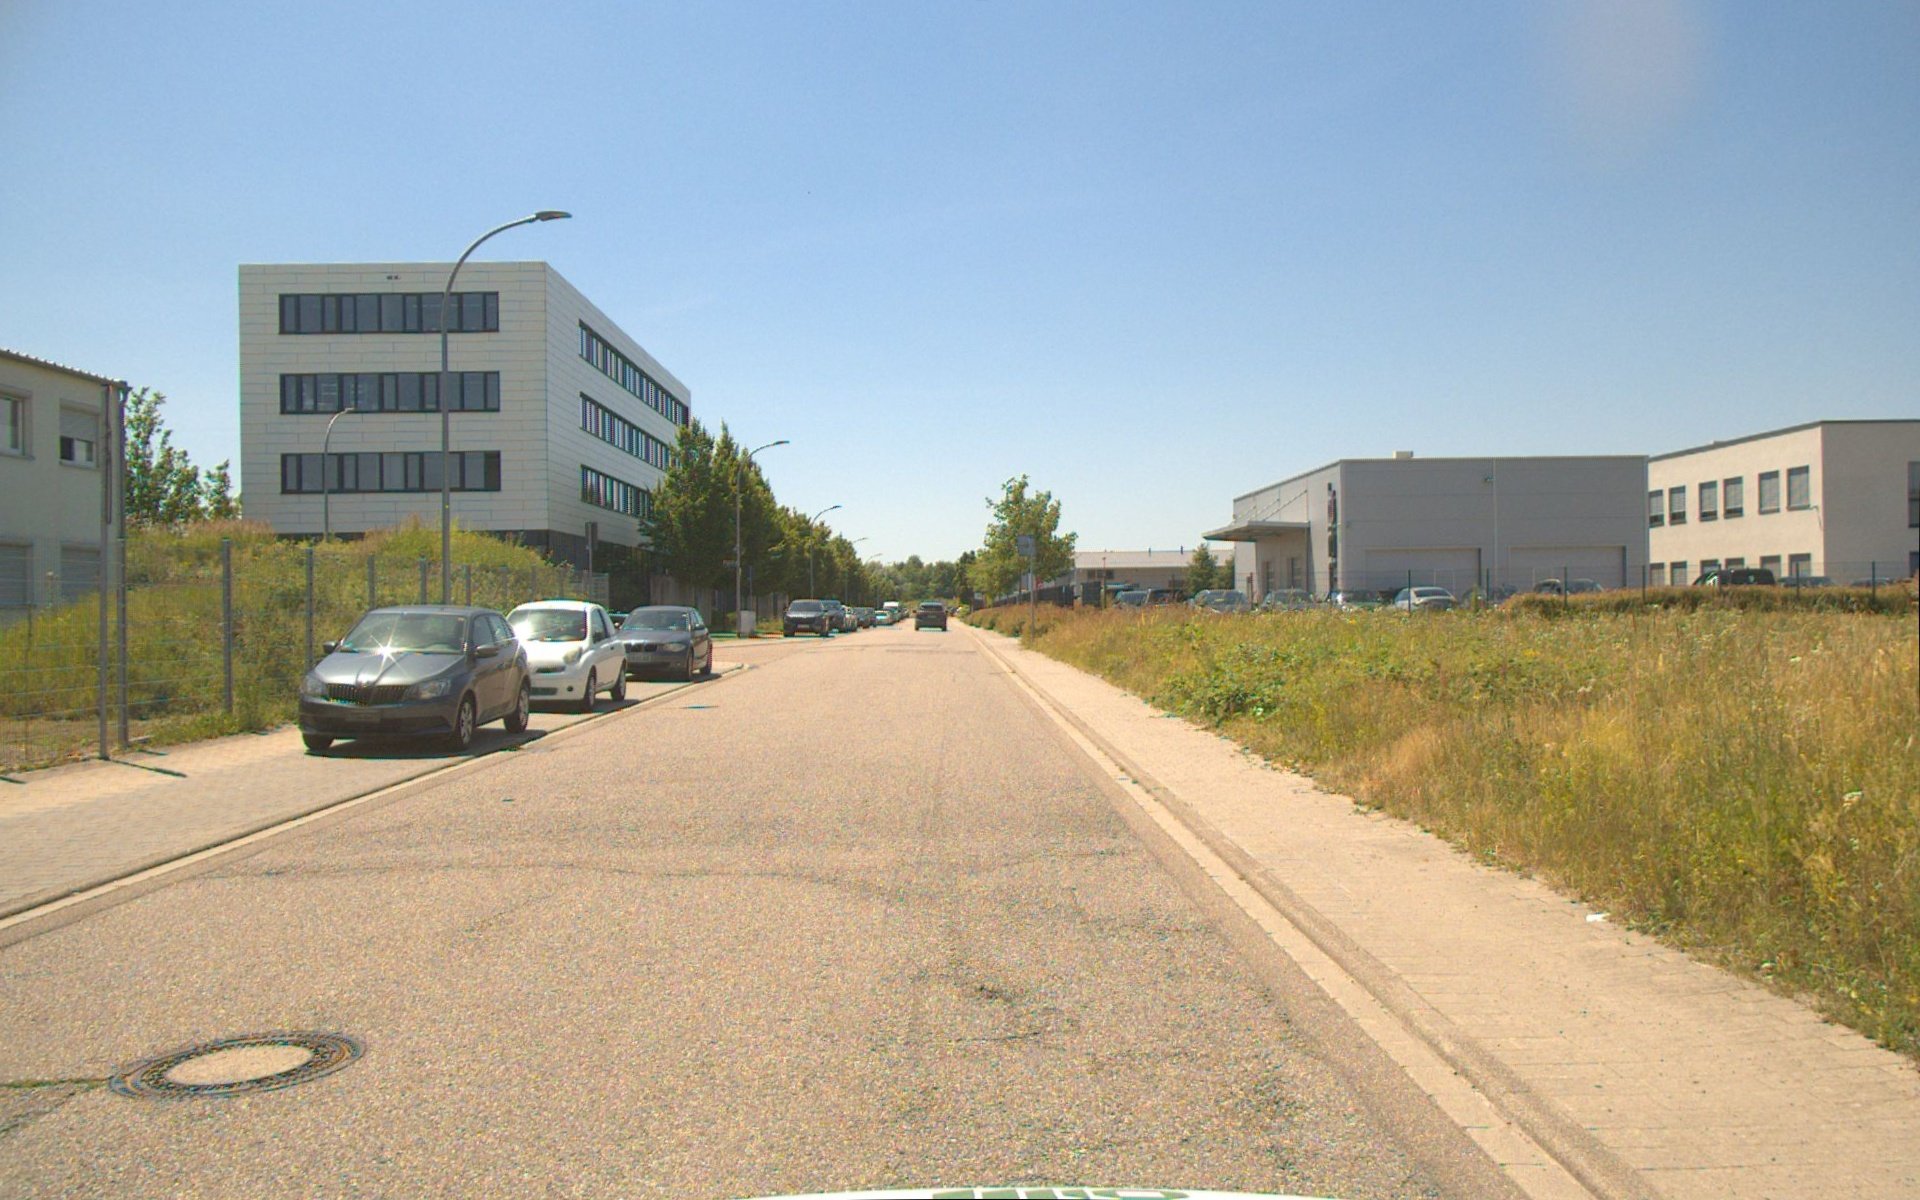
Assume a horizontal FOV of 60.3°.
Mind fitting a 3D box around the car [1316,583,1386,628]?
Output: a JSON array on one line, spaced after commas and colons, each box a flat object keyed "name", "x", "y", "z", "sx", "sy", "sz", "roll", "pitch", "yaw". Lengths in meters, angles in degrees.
[{"name": "car", "x": 13.066, "y": 0.203, "z": 55.414, "sx": 1.428, "sy": 1.437, "sz": 3.330, "roll": -1, "pitch": -1, "yaw": -2}]

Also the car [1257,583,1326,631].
[{"name": "car", "x": 10.977, "y": 0.235, "z": 54.949, "sx": 1.484, "sy": 1.522, "sz": 3.330, "roll": -1, "pitch": -1, "yaw": -2}]

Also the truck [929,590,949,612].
[{"name": "truck", "x": -3.128, "y": 0.160, "z": 243.735, "sx": 2.873, "sy": 3.026, "sz": 6.418, "roll": 2, "pitch": -1, "yaw": -1}]

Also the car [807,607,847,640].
[{"name": "car", "x": -6.896, "y": 1.218, "z": 86.094, "sx": 1.735, "sy": 1.652, "sz": 4.581, "roll": 1, "pitch": -1, "yaw": -1}]

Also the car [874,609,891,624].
[{"name": "car", "x": -7.960, "y": 1.690, "z": 170.030, "sx": 1.686, "sy": 1.502, "sz": 3.855, "roll": 0, "pitch": -1, "yaw": -3}]

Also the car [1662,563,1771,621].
[{"name": "car", "x": 25.887, "y": -0.234, "z": 56.748, "sx": 1.713, "sy": 1.879, "sz": 4.124, "roll": -1, "pitch": -1, "yaw": -2}]

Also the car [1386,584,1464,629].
[{"name": "car", "x": 15.386, "y": 0.220, "z": 54.886, "sx": 1.484, "sy": 1.421, "sz": 3.539, "roll": -1, "pitch": -1, "yaw": -2}]

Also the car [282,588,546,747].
[{"name": "car", "x": -5.843, "y": 0.682, "z": 18.183, "sx": 1.640, "sy": 1.557, "sz": 3.908, "roll": 0, "pitch": -1, "yaw": -1}]

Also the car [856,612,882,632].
[{"name": "car", "x": -6.672, "y": 1.603, "z": 121.116, "sx": 1.735, "sy": 1.456, "sz": 4.200, "roll": 1, "pitch": -1, "yaw": -1}]

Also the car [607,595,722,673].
[{"name": "car", "x": -5.911, "y": 0.669, "z": 33.482, "sx": 1.640, "sy": 1.476, "sz": 4.068, "roll": 1, "pitch": -1, "yaw": -1}]

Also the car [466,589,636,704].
[{"name": "car", "x": -6.002, "y": 0.658, "z": 24.673, "sx": 1.640, "sy": 1.557, "sz": 3.756, "roll": 1, "pitch": -1, "yaw": -1}]

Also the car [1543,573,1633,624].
[{"name": "car", "x": 21.176, "y": -0.027, "z": 55.917, "sx": 1.484, "sy": 1.662, "sz": 3.782, "roll": -1, "pitch": -1, "yaw": -2}]

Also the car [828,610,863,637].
[{"name": "car", "x": -6.435, "y": 1.308, "z": 93.132, "sx": 1.735, "sy": 1.456, "sz": 4.200, "roll": 1, "pitch": -1, "yaw": -1}]

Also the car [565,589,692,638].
[{"name": "car", "x": -11.174, "y": 0.457, "z": 56.009, "sx": 1.743, "sy": 1.616, "sz": 4.055, "roll": -1, "pitch": -1, "yaw": 40}]

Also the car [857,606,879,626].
[{"name": "car", "x": -7.726, "y": 1.351, "z": 138.783, "sx": 1.735, "sy": 1.640, "sz": 4.245, "roll": 0, "pitch": -1, "yaw": -2}]

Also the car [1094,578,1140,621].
[{"name": "car", "x": 8.091, "y": -0.016, "z": 85.701, "sx": 1.838, "sy": 2.123, "sz": 4.224, "roll": -2, "pitch": 0, "yaw": -1}]

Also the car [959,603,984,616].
[{"name": "car", "x": 1.852, "y": 1.495, "z": 259.357, "sx": 3.799, "sy": 1.780, "sz": 1.750, "roll": 2, "pitch": -1, "yaw": -3}]

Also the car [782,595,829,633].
[{"name": "car", "x": -6.788, "y": 0.627, "z": 73.197, "sx": 1.735, "sy": 1.616, "sz": 4.480, "roll": 0, "pitch": -1, "yaw": -1}]

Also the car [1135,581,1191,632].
[{"name": "car", "x": 6.639, "y": 0.228, "z": 54.188, "sx": 1.437, "sy": 1.601, "sz": 2.661, "roll": -1, "pitch": -1, "yaw": -1}]

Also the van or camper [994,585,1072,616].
[{"name": "van or camper", "x": 6.367, "y": 0.057, "z": 144.328, "sx": 6.621, "sy": 2.630, "sz": 2.635, "roll": -1, "pitch": -1, "yaw": -2}]

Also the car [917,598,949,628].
[{"name": "car", "x": -1.531, "y": 0.741, "z": 93.732, "sx": 1.753, "sy": 1.652, "sz": 3.808, "roll": 2, "pitch": -1, "yaw": -1}]
